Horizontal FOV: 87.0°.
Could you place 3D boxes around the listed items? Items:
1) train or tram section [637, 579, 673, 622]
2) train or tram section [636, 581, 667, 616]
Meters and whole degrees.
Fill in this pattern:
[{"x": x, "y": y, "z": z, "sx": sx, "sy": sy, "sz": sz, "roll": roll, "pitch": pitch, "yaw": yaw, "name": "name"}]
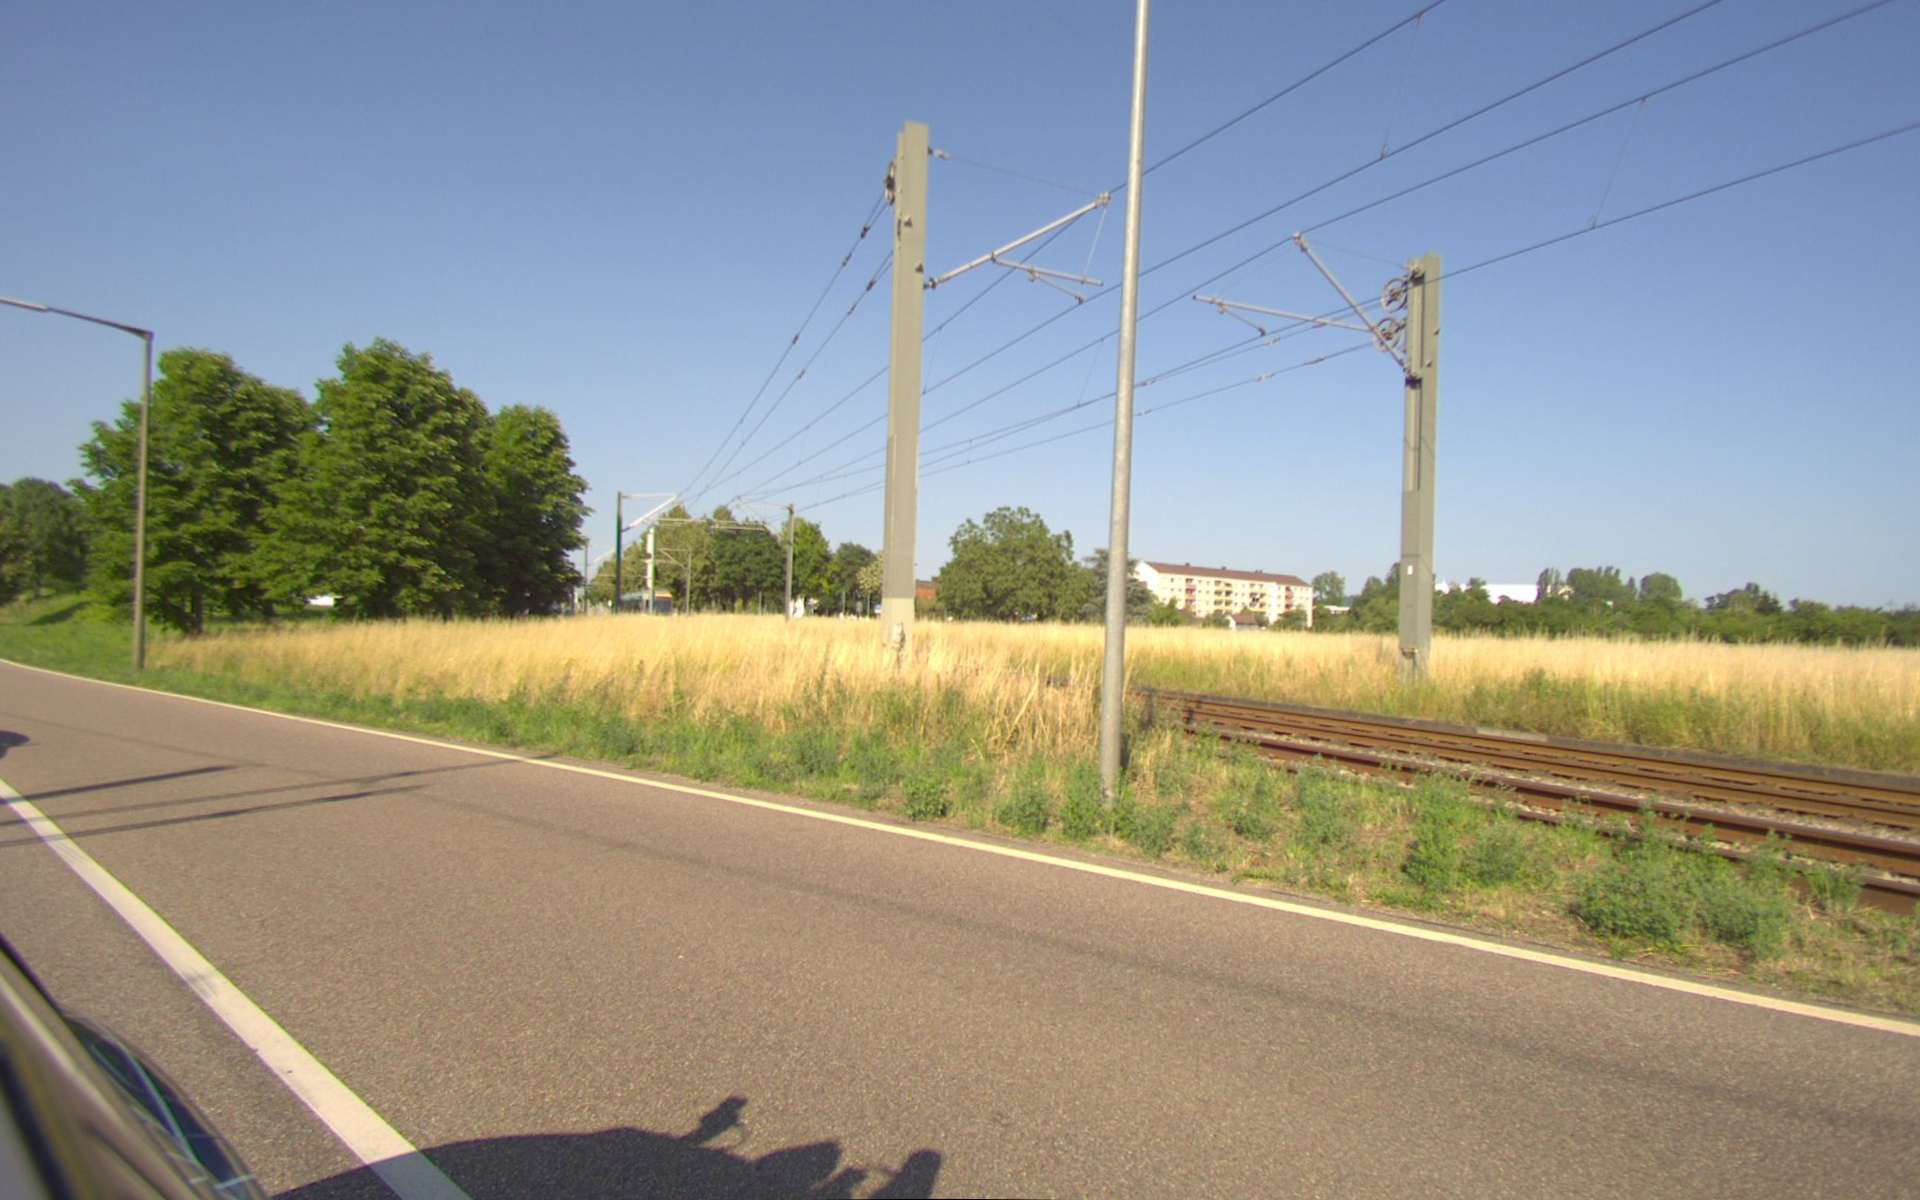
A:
[{"x": -28.000, "y": -0.080, "z": 92.488, "sx": 2.866, "sy": 3.595, "sz": 14.307, "roll": 0, "pitch": 1, "yaw": -18, "name": "train or tram section"}, {"x": -32.084, "y": -0.196, "z": 105.174, "sx": 2.877, "sy": 3.480, "sz": 12.203, "roll": 0, "pitch": 0, "yaw": -17, "name": "train or tram section"}]
